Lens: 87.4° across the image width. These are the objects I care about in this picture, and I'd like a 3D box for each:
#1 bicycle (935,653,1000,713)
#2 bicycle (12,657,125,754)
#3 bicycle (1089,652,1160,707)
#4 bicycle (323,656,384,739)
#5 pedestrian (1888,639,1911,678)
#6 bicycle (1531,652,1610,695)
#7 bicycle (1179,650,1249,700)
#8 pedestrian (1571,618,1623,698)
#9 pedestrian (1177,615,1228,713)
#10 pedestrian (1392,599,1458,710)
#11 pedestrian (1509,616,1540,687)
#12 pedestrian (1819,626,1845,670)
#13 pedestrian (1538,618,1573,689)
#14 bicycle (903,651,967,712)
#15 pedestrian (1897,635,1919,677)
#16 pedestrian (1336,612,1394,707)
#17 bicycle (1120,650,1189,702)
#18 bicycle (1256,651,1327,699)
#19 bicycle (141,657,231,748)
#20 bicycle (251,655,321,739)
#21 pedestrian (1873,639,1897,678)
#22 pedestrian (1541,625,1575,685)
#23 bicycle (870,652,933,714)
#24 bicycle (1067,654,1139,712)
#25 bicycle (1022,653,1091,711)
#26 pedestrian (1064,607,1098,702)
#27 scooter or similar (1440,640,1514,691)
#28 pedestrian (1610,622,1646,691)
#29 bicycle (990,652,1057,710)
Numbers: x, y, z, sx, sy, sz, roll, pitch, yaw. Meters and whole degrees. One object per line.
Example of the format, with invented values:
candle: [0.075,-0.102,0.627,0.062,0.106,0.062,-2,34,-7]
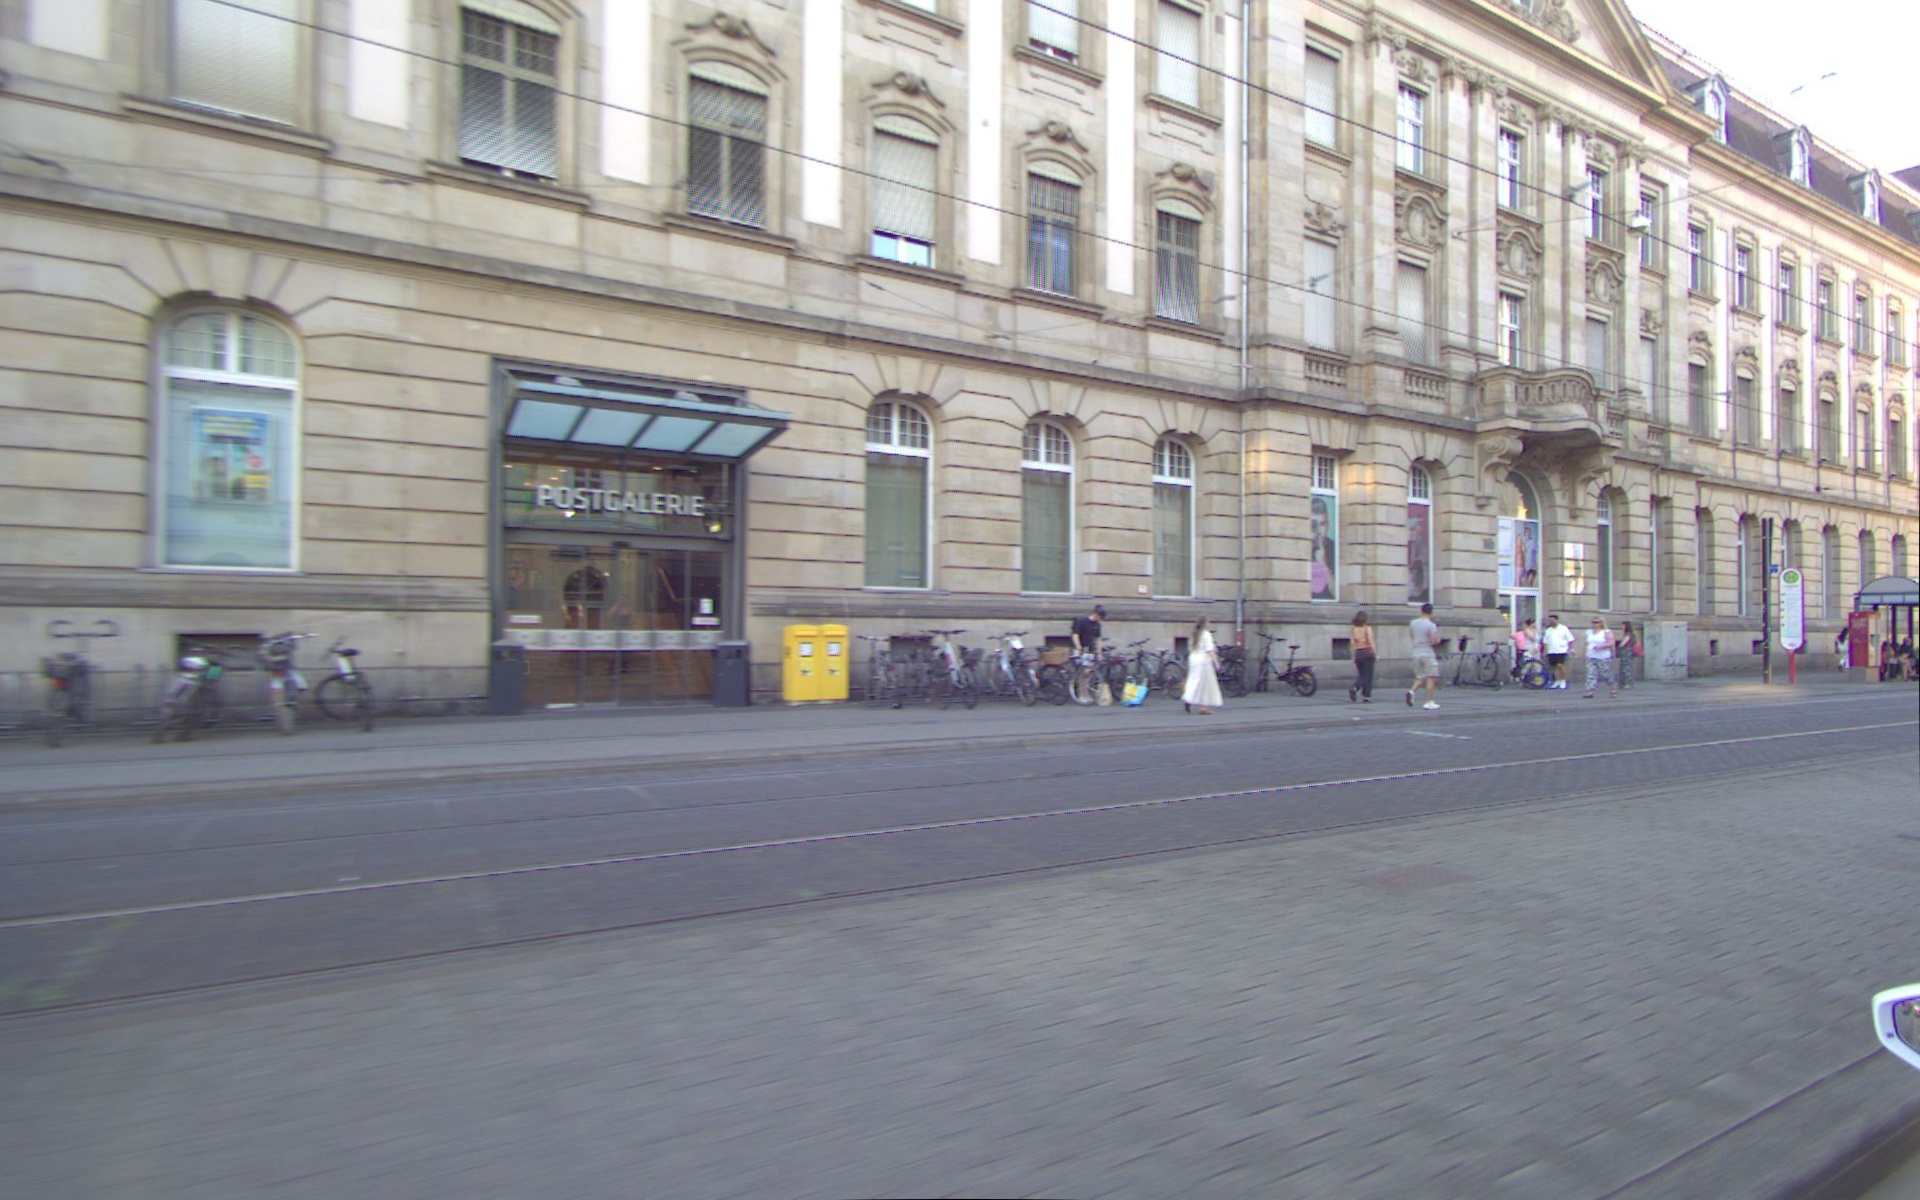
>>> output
bicycle: [0.102,1.354,16.741,0.445,0.885,1.571,2,-1,-25]
bicycle: [-9.542,1.095,10.807,0.445,0.885,1.571,2,-1,-25]
bicycle: [2.957,1.415,18.180,0.445,0.885,1.571,2,-1,-25]
bicycle: [-7.494,1.173,12.453,0.445,0.885,1.571,2,-1,-25]
pedestrian: [27.710,1.719,29.626,0.424,1.117,0.363,2,-1,-24]
bicycle: [14.018,1.681,23.091,0.445,0.885,1.571,2,-1,-25]
bicycle: [5.051,1.478,20.053,0.445,0.885,1.571,2,-1,-25]
pedestrian: [12.953,1.168,20.429,0.672,1.582,0.656,1,-1,-30]
pedestrian: [3.768,0.986,15.635,0.680,1.486,0.556,0,-1,5]
pedestrian: [7.900,0.911,17.060,0.805,1.837,0.689,1,-1,-30]
pedestrian: [13.586,1.235,24.159,0.597,1.664,0.334,2,-1,-23]
pedestrian: [31.626,1.731,36.415,0.675,1.582,0.653,2,-1,-44]
pedestrian: [14.256,1.275,24.045,0.555,1.664,0.474,2,-1,-26]
bicycle: [-0.426,1.322,16.502,0.445,0.885,1.571,2,-1,-25]
pedestrian: [28.409,1.674,30.091,0.424,1.216,0.363,2,-1,-24]
pedestrian: [7.585,1.104,18.832,0.799,1.734,0.694,1,-1,-2]
bicycle: [3.691,1.440,19.198,0.445,0.885,1.571,2,-1,-25]
bicycle: [6.809,1.524,20.699,0.445,0.885,1.571,2,-1,-25]
bicycle: [-8.759,1.125,11.418,0.445,0.885,1.571,2,-1,-25]
bicycle: [-8.205,1.152,12.272,0.445,0.885,1.571,2,-1,-25]
pedestrian: [27.137,1.702,29.466,0.424,1.117,0.363,2,-1,-24]
pedestrian: [14.901,1.356,25.039,0.560,1.459,0.441,1,-1,6]
bicycle: [-0.960,1.312,16.149,0.445,0.885,1.571,2,-1,-25]
bicycle: [2.475,1.424,17.545,0.445,0.885,1.571,2,-1,-25]
bicycle: [1.660,1.402,17.461,0.445,0.885,1.571,2,-1,-25]
pedestrian: [2.134,0.958,17.704,0.424,1.655,0.363,2,-1,-24]
scooter or similar: [11.853,1.481,23.073,0.445,1.082,1.542,2,-1,-25]
pedestrian: [16.195,1.362,24.362,0.434,1.626,0.569,2,-1,-20]
bicycle: [1.068,1.373,17.234,0.445,0.885,1.571,2,-1,-25]
